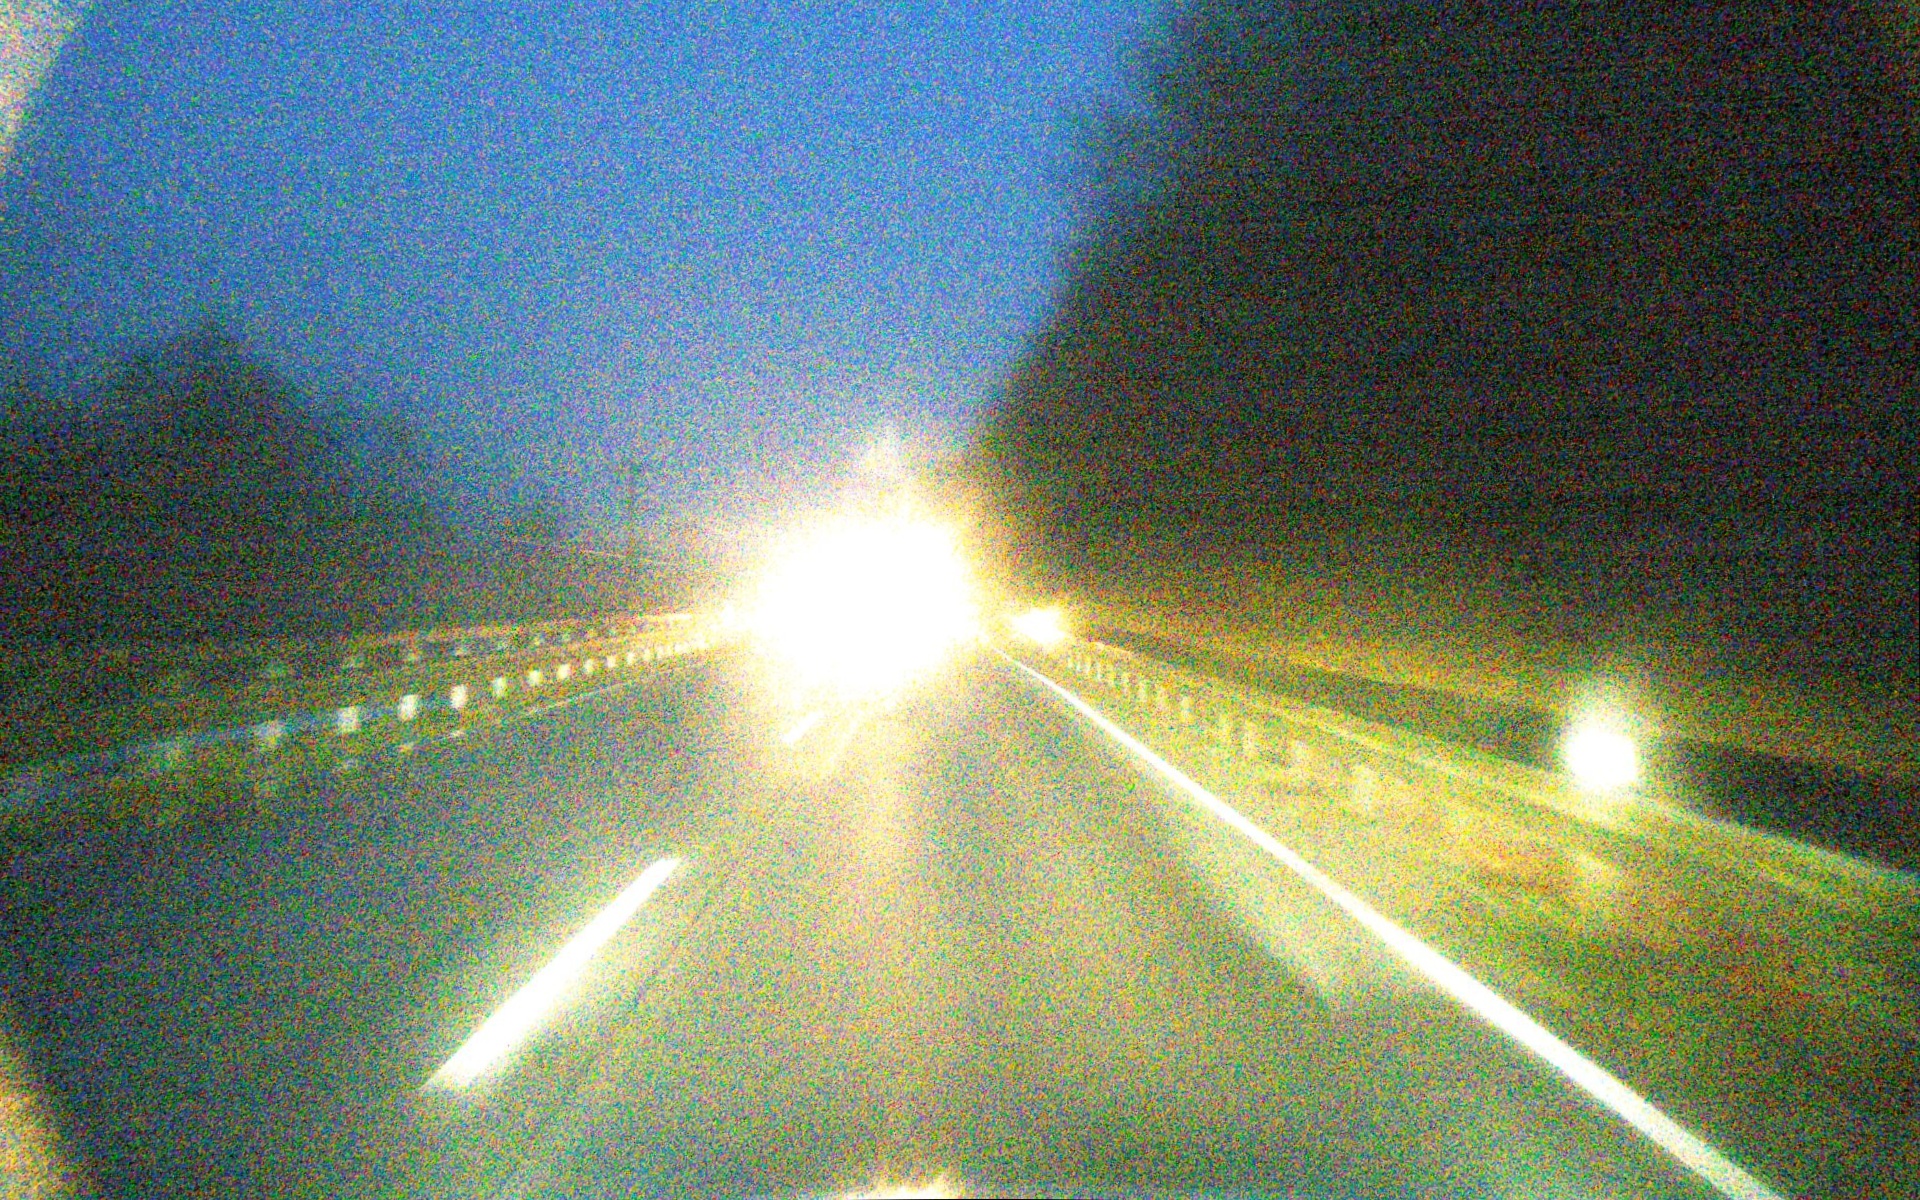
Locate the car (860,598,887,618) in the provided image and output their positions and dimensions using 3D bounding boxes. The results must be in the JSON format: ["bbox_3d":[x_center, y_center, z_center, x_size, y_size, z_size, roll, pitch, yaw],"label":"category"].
[{"bbox_3d":[-6.652,0.632,127.390,1.953,1.501,3.923,1,-1,-1],"label":"car"}]
